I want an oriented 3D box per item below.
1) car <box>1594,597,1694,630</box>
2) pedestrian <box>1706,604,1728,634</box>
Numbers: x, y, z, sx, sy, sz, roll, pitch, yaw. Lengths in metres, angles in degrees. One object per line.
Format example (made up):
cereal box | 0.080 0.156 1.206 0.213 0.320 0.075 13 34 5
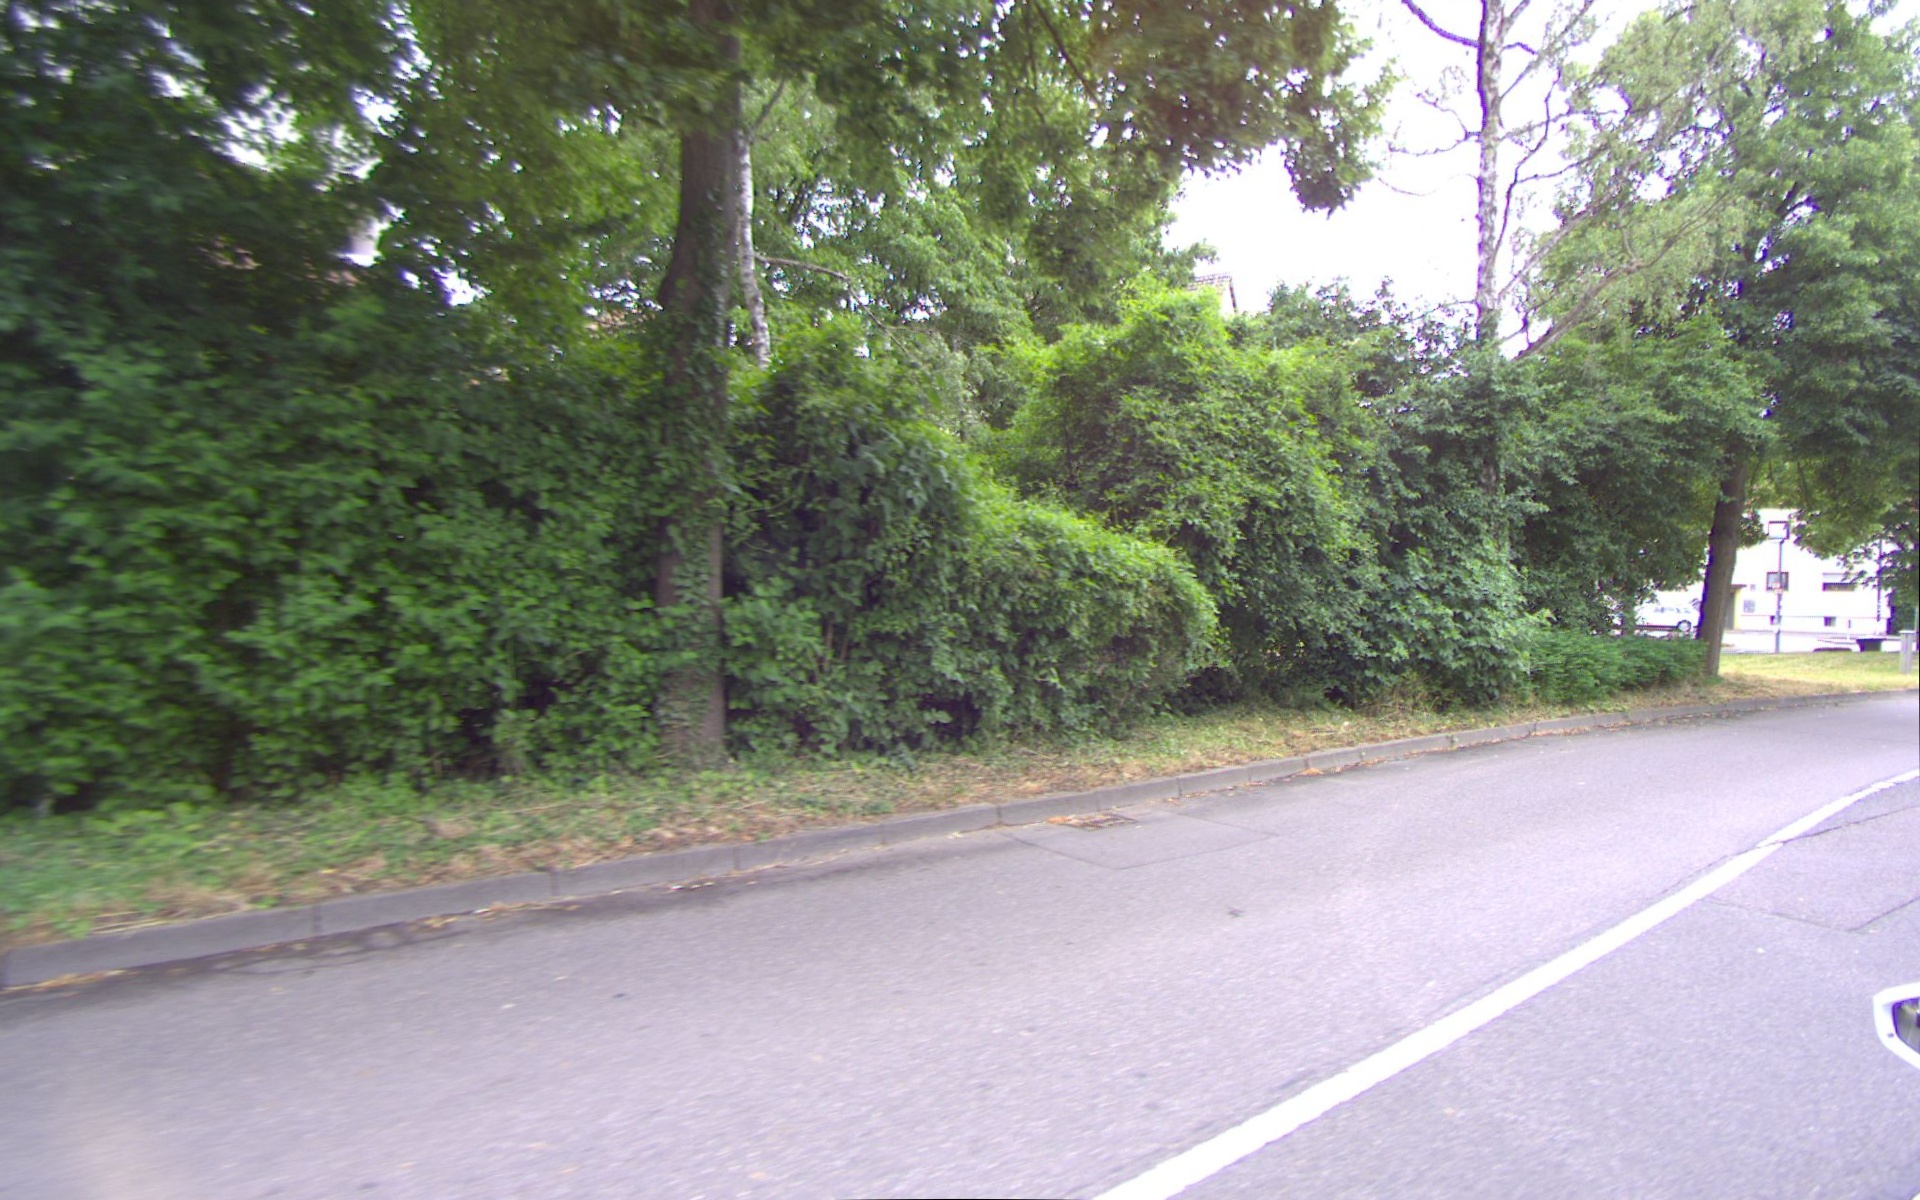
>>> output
car | 38.074 0.720 56.034 4.232 1.459 1.721 3 4 21
pedestrian | 41.787 1.047 55.456 0.735 1.555 0.716 3 4 21
